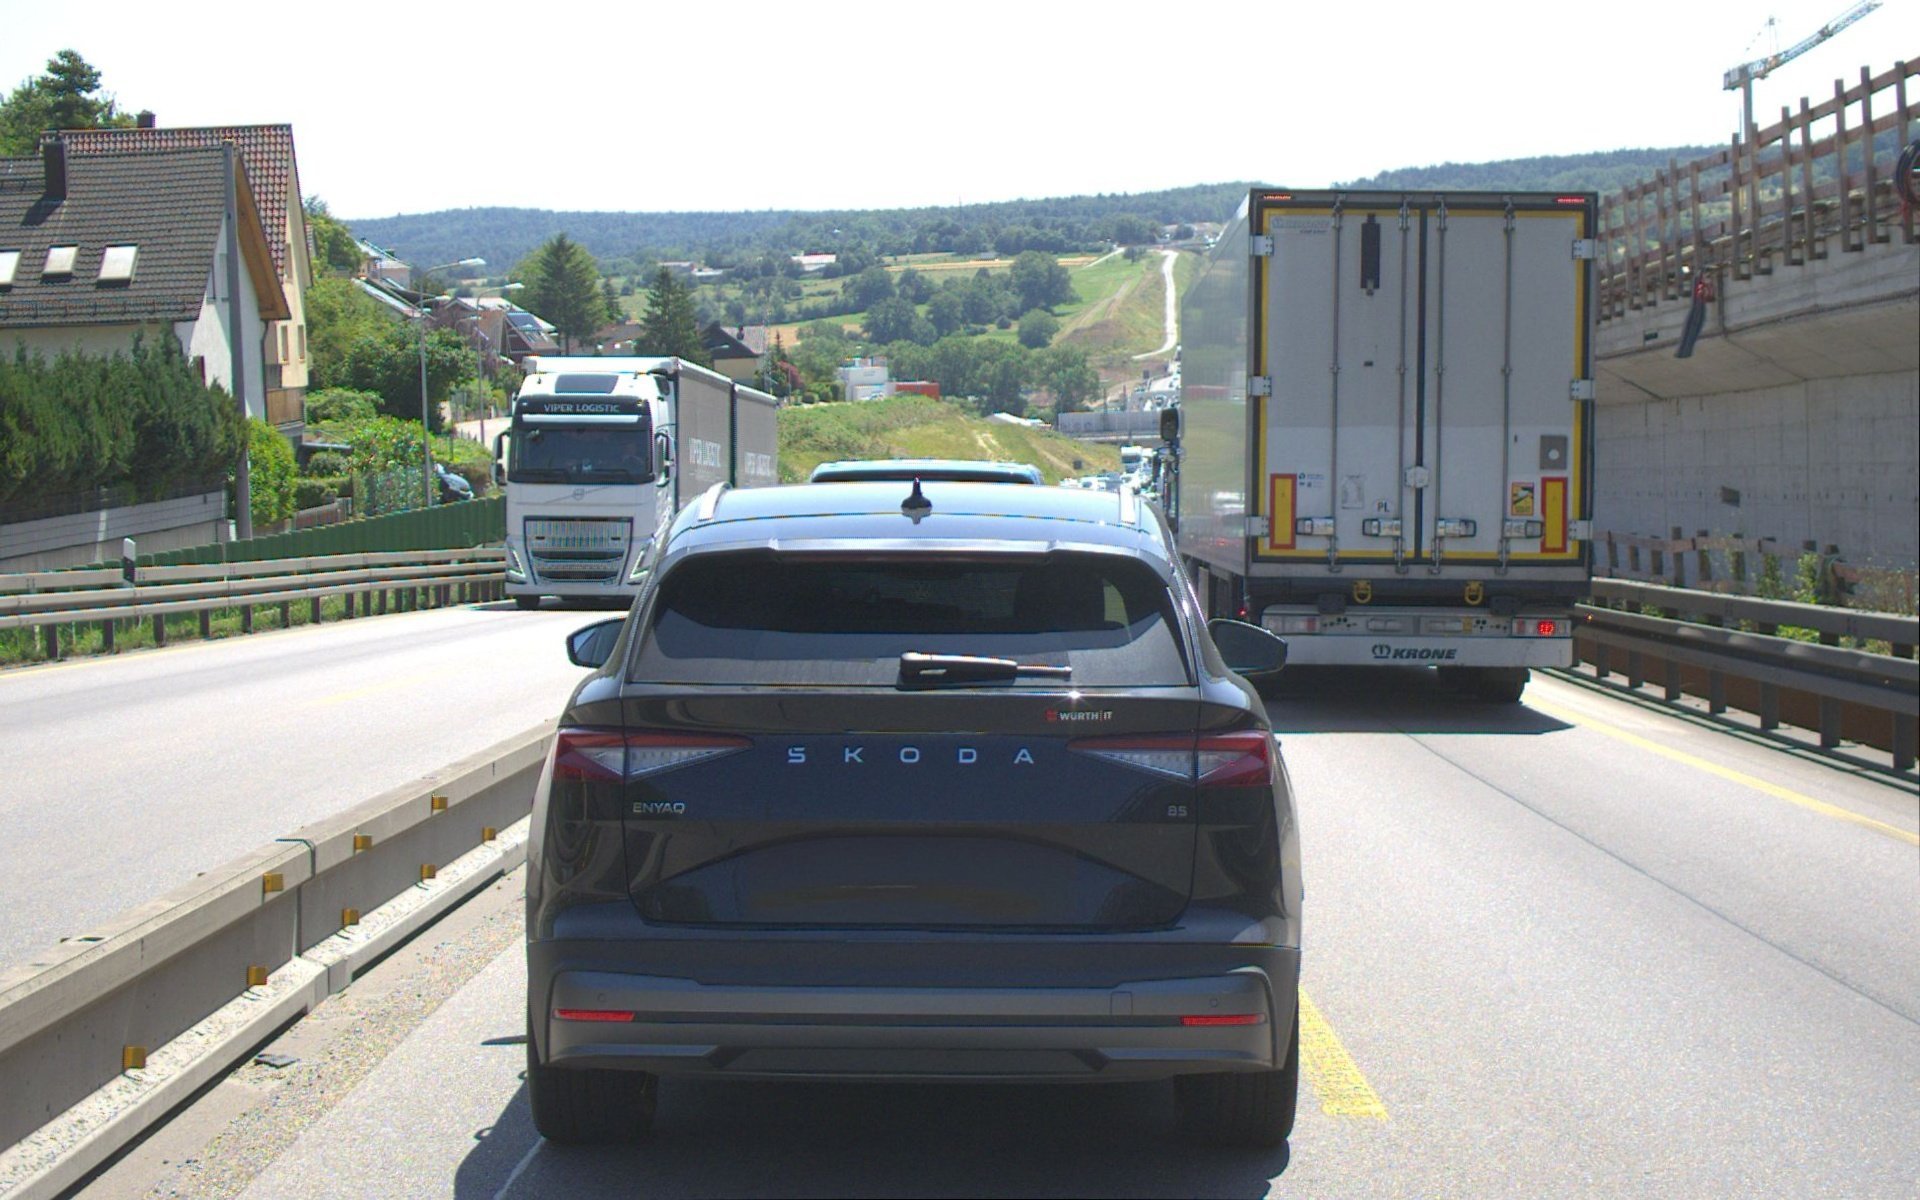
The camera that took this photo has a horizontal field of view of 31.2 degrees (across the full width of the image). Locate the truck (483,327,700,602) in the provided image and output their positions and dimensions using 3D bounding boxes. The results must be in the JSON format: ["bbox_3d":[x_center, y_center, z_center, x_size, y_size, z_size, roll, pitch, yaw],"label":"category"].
[{"bbox_3d":[-5.960,-2.194,56.300,2.752,4.268,4.957,1,1,3],"label":"truck"}]

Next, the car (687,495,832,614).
[{"bbox_3d":[-2.826,-0.635,49.264,1.859,1.605,4.069,1,0,-1],"label":"car"}]

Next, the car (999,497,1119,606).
[{"bbox_3d":[1.523,-0.799,54.230,1.707,1.616,4.001,1,2,-1],"label":"car"}]

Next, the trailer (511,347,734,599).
[{"bbox_3d":[-5.759,-2.217,59.945,2.757,4.056,8.007,1,2,2],"label":"trailer"}]

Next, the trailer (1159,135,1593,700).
[{"bbox_3d":[3.385,-1.380,30.986,2.532,4.113,11.548,1,0,0],"label":"trailer"}]

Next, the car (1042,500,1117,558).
[{"bbox_3d":[3.398,-2.010,98.197,1.993,1.579,3.836,1,0,0],"label":"car"}]

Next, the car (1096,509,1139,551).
[{"bbox_3d":[6.705,-2.951,145.831,1.701,1.722,3.836,1,0,4],"label":"car"}]

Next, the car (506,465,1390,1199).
[{"bbox_3d":[-0.163,0.506,9.180,1.842,1.581,3.908,1,0,-4],"label":"car"}]

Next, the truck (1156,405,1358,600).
[{"bbox_3d":[5.240,-1.655,62.854,3.195,3.180,12.807,0,0,3],"label":"truck"}]

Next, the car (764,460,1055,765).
[{"bbox_3d":[-0.425,0.011,23.335,1.706,1.875,4.001,1,2,-4],"label":"car"}]

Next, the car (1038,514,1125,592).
[{"bbox_3d":[2.651,-1.063,75.821,1.707,1.616,4.001,1,2,-1],"label":"car"}]

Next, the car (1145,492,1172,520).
[{"bbox_3d":[12.779,-6.034,221.156,1.701,1.722,3.836,1,0,4],"label":"car"}]

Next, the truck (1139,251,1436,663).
[{"bbox_3d":[3.430,-1.434,37.913,2.513,4.011,8.238,1,0,1],"label":"truck"}]

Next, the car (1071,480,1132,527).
[{"bbox_3d":[4.972,-3.389,121.205,1.993,1.579,3.836,1,0,0],"label":"car"}]

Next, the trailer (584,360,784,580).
[{"bbox_3d":[-5.357,-2.569,68.219,2.757,4.056,8.634,1,2,3],"label":"trailer"}]

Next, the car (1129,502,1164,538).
[{"bbox_3d":[9.559,-4.097,176.293,1.701,1.722,3.836,1,0,4],"label":"car"}]
